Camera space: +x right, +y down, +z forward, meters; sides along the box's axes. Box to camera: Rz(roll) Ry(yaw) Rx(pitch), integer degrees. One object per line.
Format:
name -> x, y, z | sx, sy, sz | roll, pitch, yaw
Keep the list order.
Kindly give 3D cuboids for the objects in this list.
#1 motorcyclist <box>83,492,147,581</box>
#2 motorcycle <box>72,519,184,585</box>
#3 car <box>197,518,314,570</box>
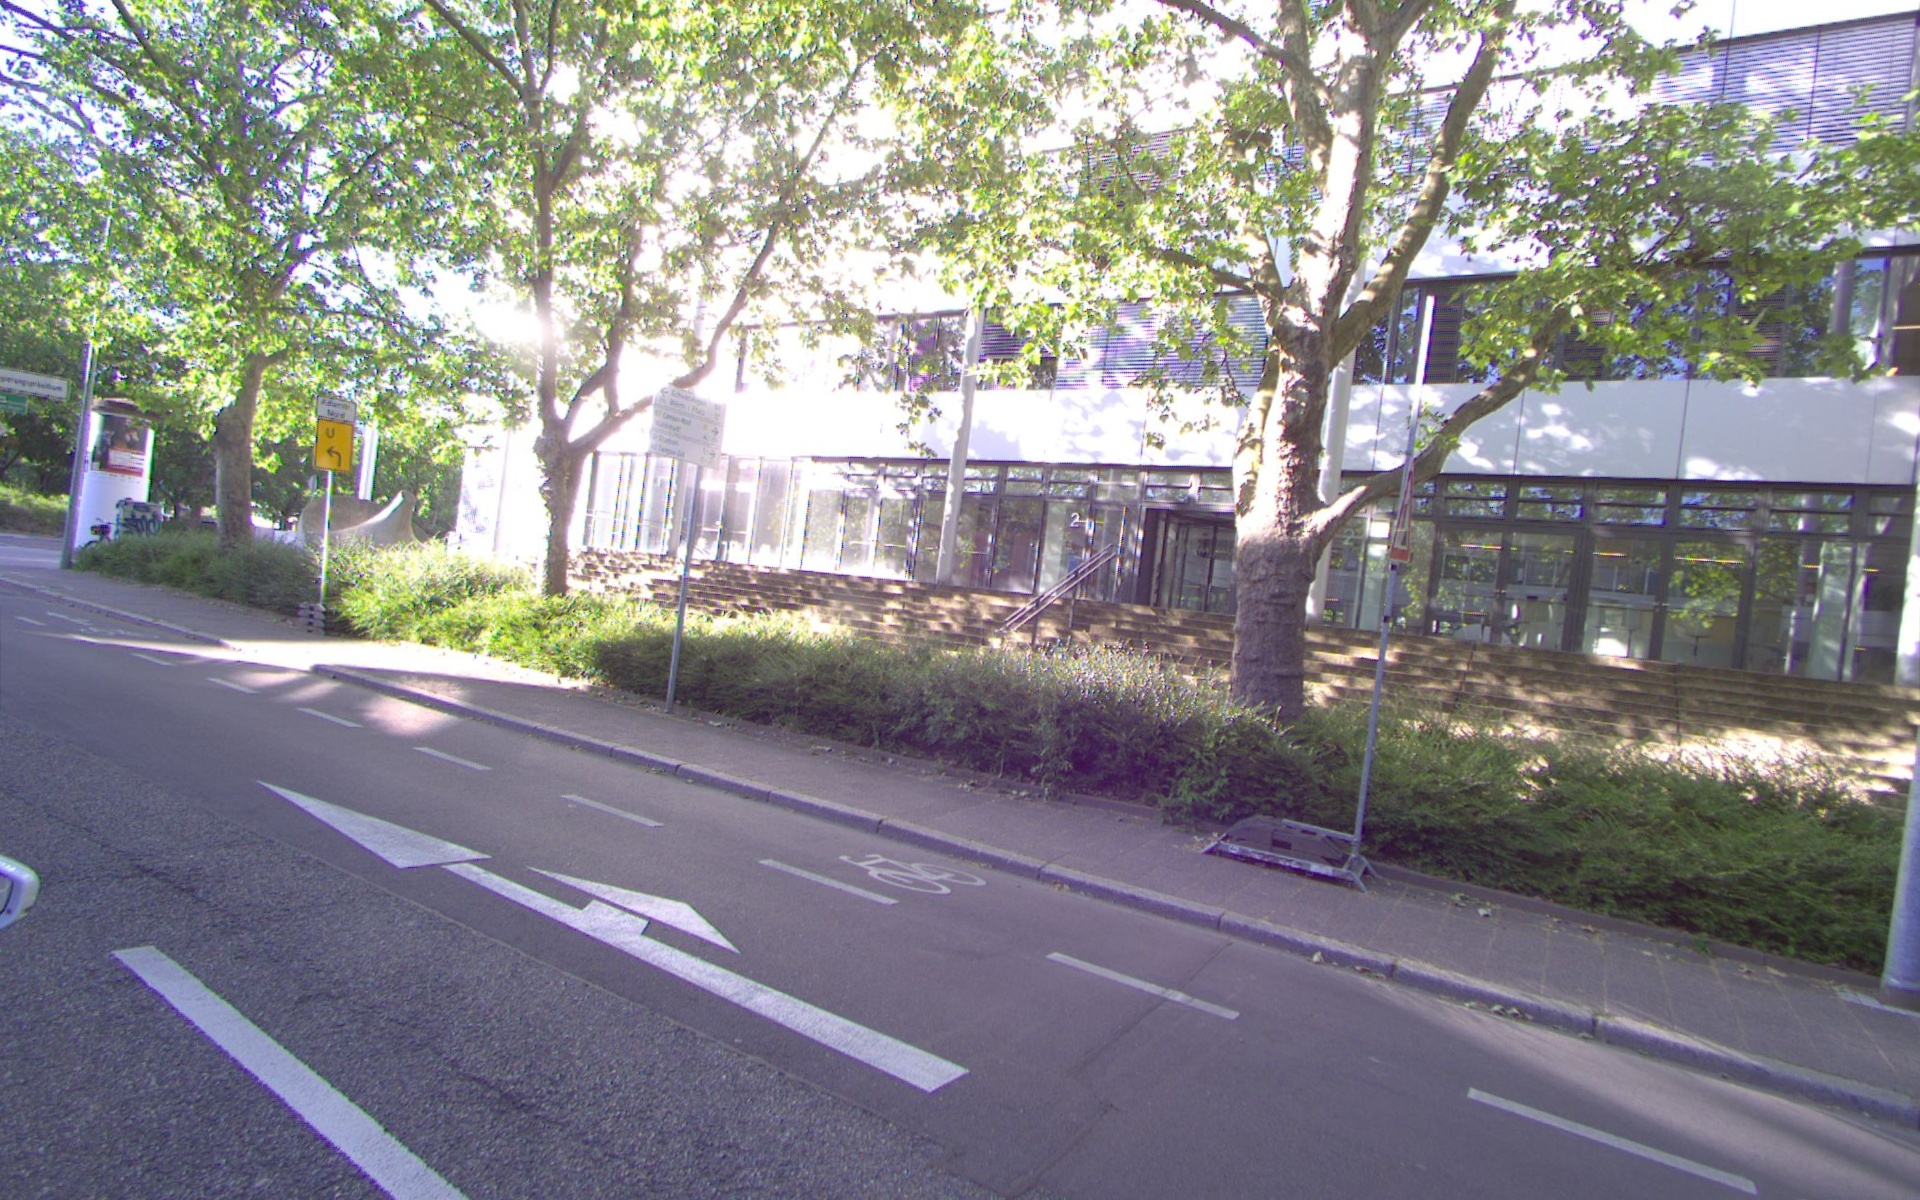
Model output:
motorcyclist -> -19.353, -1.451, 23.038 | 0.662, 1.885, 0.823 | 6, -1, 37
motorcycle -> -19.226, -1.096, 23.286 | 0.712, 1.257, 1.782 | 6, -2, 37
car -> -32.700, -2.570, 46.827 | 1.708, 1.792, 3.995 | 7, -1, 30
